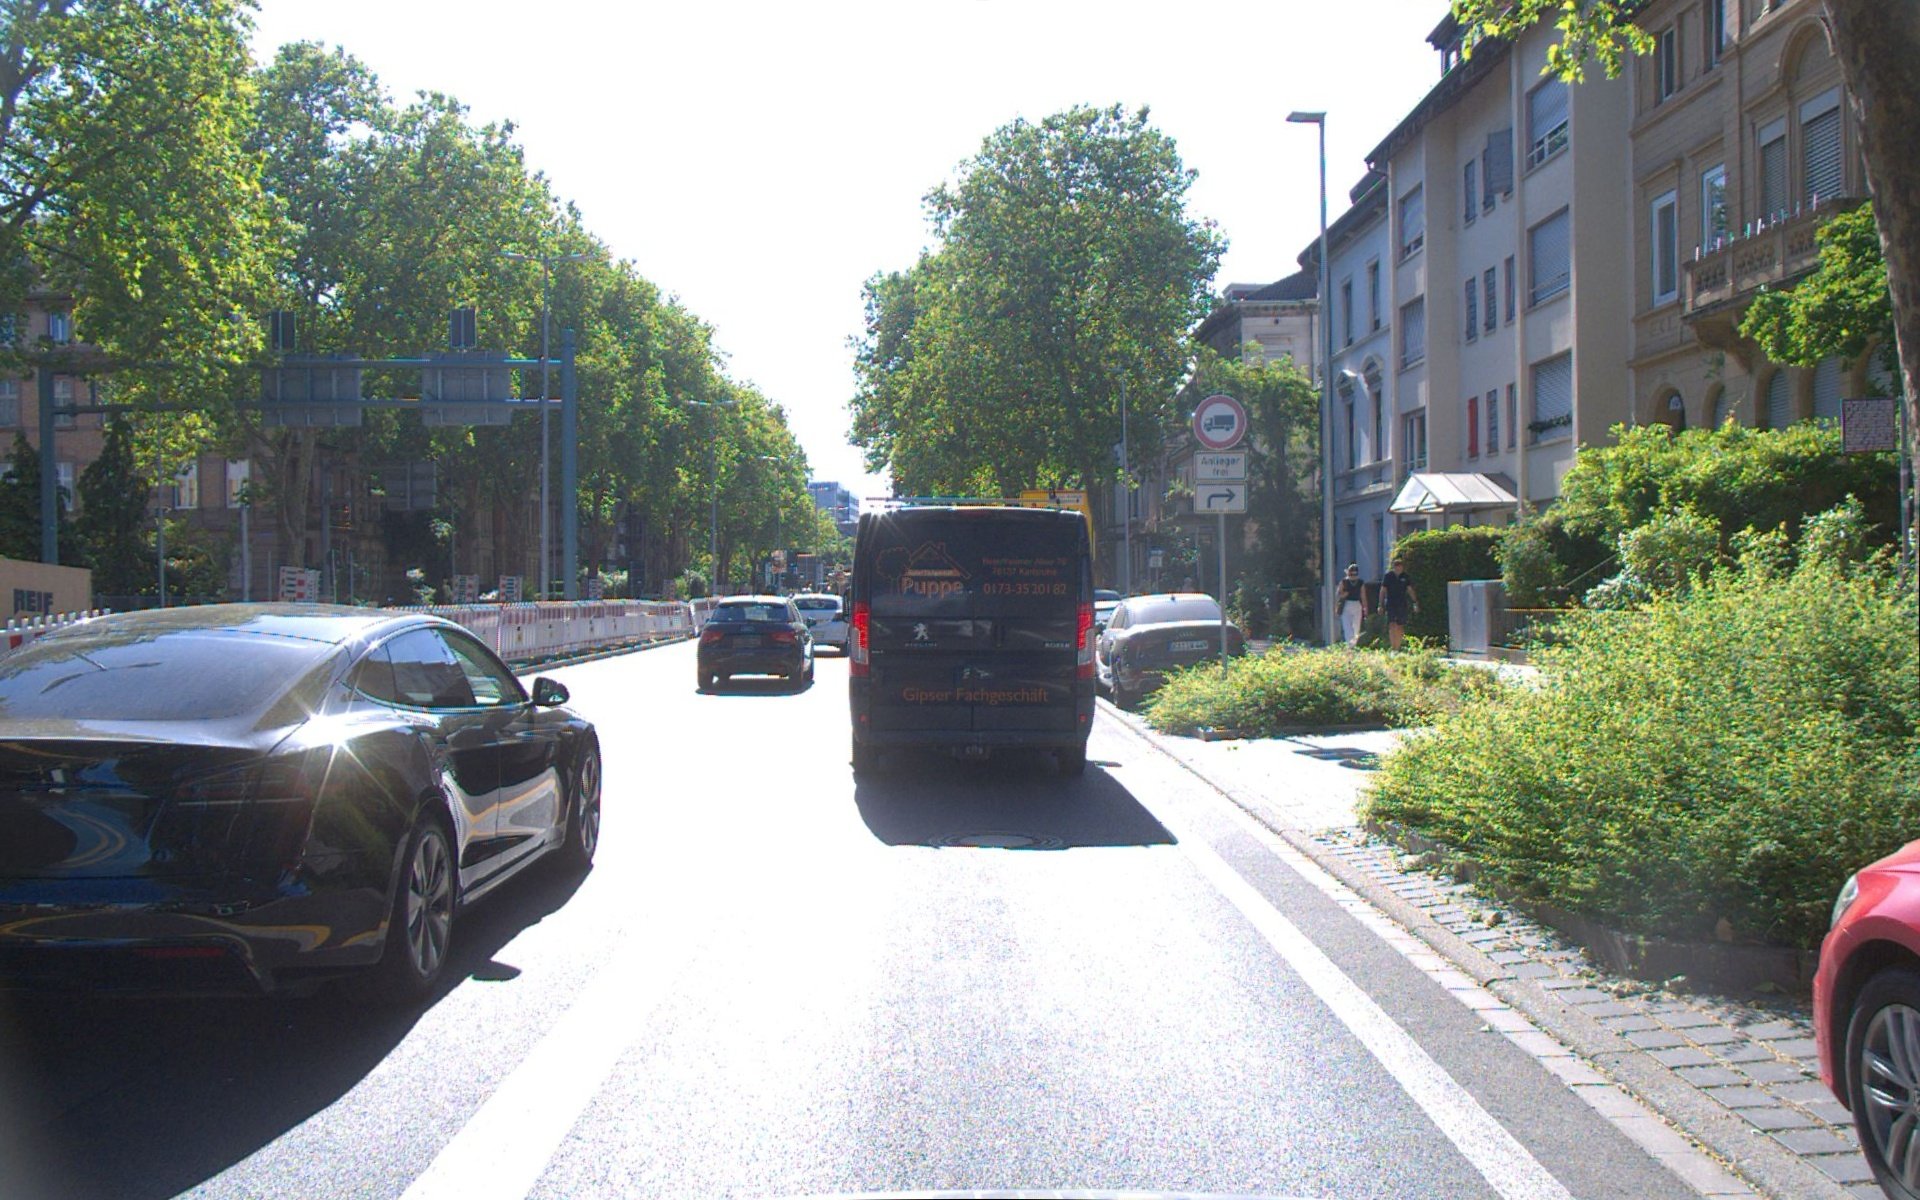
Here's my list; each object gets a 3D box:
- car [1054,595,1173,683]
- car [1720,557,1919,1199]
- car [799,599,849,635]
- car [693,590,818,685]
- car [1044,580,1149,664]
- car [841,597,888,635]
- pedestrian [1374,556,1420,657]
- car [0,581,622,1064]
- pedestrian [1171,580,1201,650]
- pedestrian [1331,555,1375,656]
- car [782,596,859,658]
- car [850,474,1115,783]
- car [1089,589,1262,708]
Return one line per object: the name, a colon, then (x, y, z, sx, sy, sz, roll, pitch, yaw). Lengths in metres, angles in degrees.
car: (2.665, 0.652, 29.431, 1.806, 1.433, 3.801, -1, 0, 1)
car: (3.101, 0.641, 2.403, 1.784, 1.534, 4.676, -2, 0, 0)
car: (-6.218, 0.757, 75.902, 1.953, 1.495, 4.000, 1, 1, 0)
car: (-3.286, 0.573, 27.237, 1.711, 1.432, 3.998, 1, 0, -3)
car: (2.929, 0.459, 36.224, 1.807, 1.672, 3.798, -2, 0, -2)
car: (-3.313, 0.546, 57.874, 1.392, 1.246, 3.438, -1, 0, 0)
pedestrian: (7.852, 0.115, 29.739, 0.640, 1.786, 1.014, -1, 0, 8)
car: (-2.864, 0.659, 7.312, 1.886, 1.436, 4.624, 1, 0, -2)
pedestrian: (6.690, 0.441, 49.009, 0.781, 2.049, 1.168, -1, 0, 4)
pedestrian: (7.082, 0.096, 29.857, 0.661, 1.786, 0.876, -1, 0, 8)
car: (-3.420, 0.646, 41.067, 1.515, 1.450, 3.556, -1, 0, 1)
car: (0.116, 0.202, 14.843, 2.053, 2.396, 3.932, 0, 1, -2)
car: (2.914, 0.616, 23.265, 1.807, 1.467, 4.486, -1, 0, 0)
